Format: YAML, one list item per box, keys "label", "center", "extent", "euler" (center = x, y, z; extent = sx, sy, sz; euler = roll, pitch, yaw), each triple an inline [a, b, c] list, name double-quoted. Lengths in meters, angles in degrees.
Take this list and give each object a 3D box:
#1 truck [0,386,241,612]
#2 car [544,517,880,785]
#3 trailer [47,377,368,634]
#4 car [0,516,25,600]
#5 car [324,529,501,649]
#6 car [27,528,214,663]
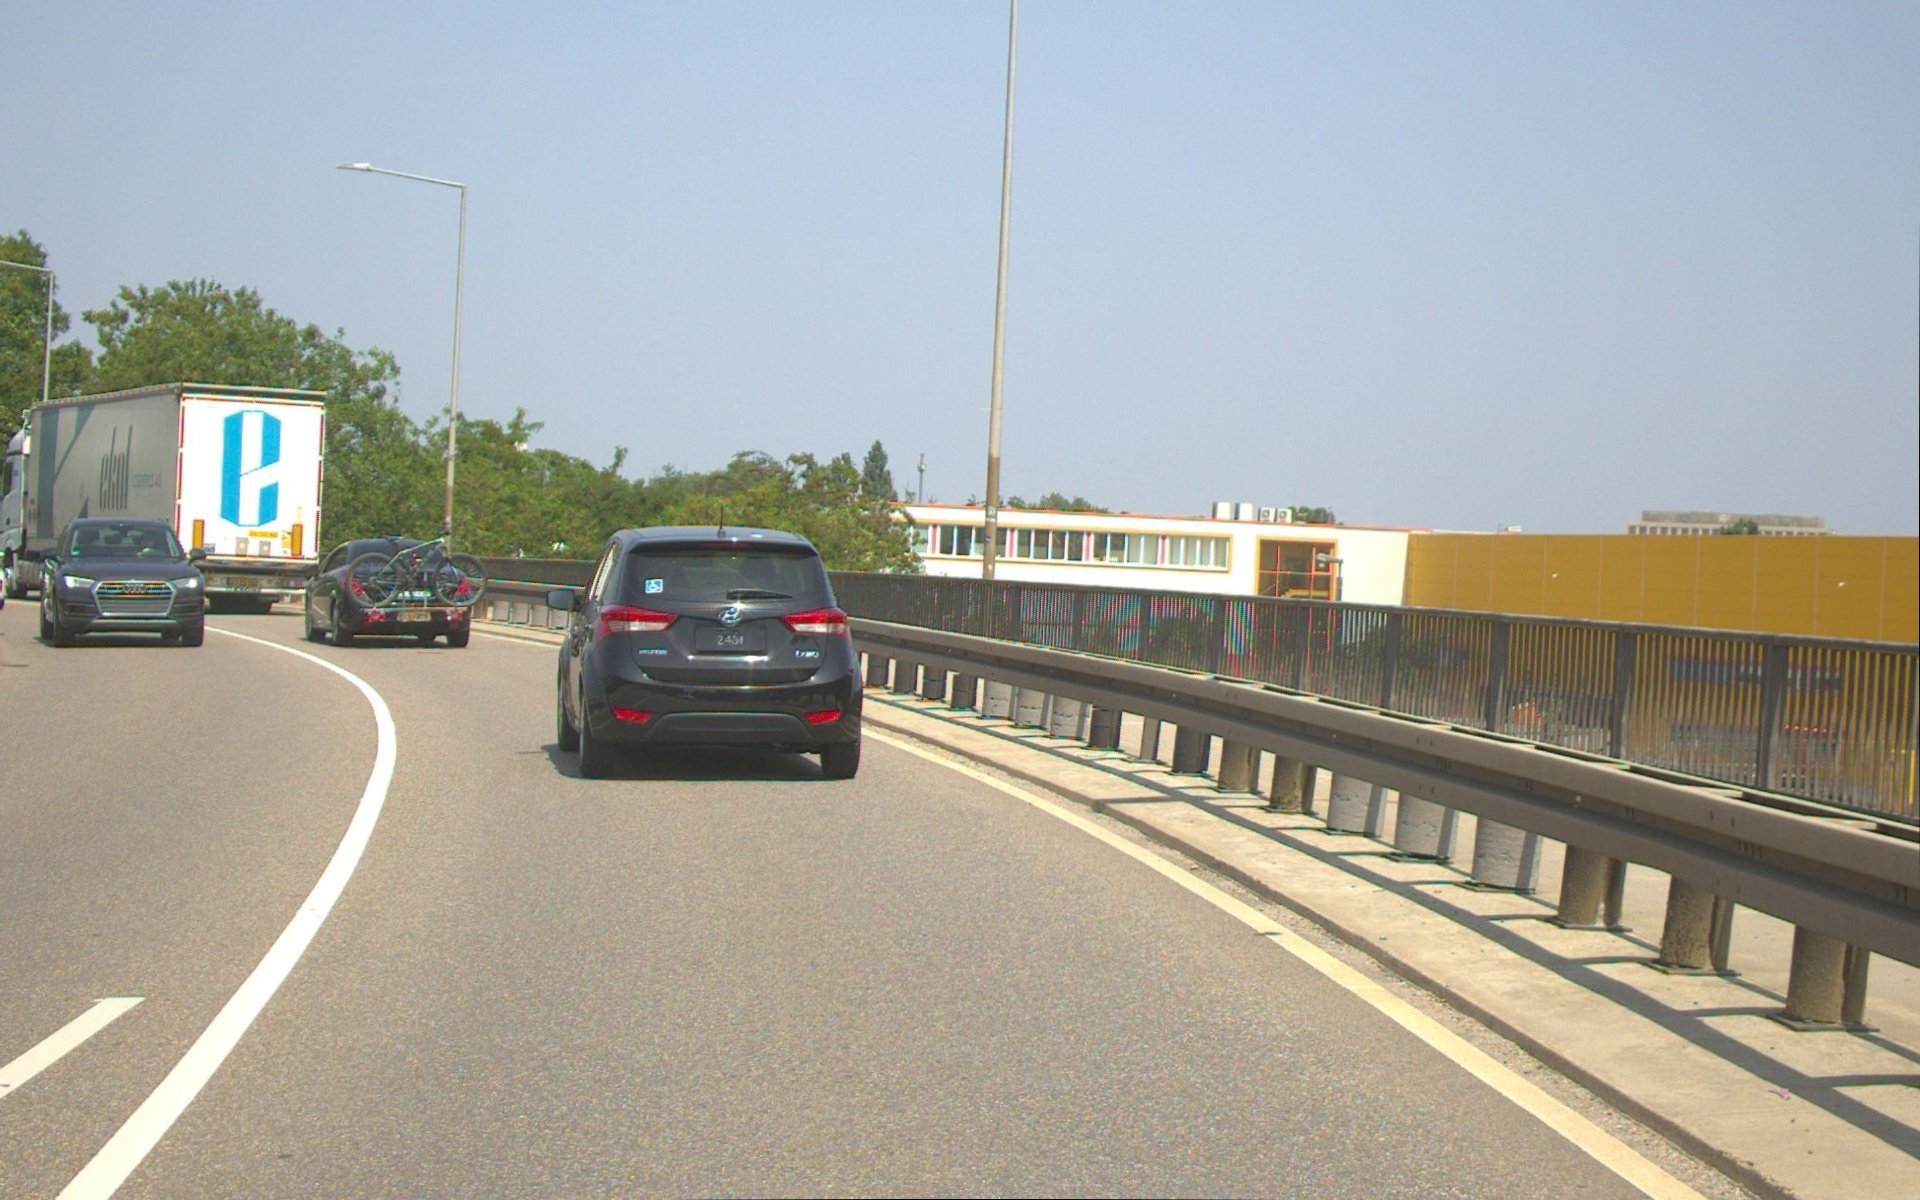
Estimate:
- label: "truck"
  center: [-17.700, -2.115, 71.826]
  extent: [3.572, 4.425, 6.516]
  euler: [1, 2, -27]
- label: "car"
  center: [-1.734, 0.267, 22.815]
  extent: [1.921, 1.568, 3.893]
  euler: [1, 1, -8]
- label: "trailer"
  center: [-14.426, -1.814, 64.929]
  extent: [3.569, 4.369, 11.444]
  euler: [1, 2, -24]
- label: "car"
  center: [-18.155, -0.804, 62.422]
  extent: [1.664, 1.459, 3.487]
  euler: [1, 2, -25]
- label: "car"
  center: [-7.262, -0.172, 45.307]
  extent: [2.011, 1.424, 3.778]
  euler: [1, 2, -13]
- label: "car"
  center: [-11.078, -0.096, 45.174]
  extent: [1.841, 1.630, 4.234]
  euler: [0, 2, -21]
